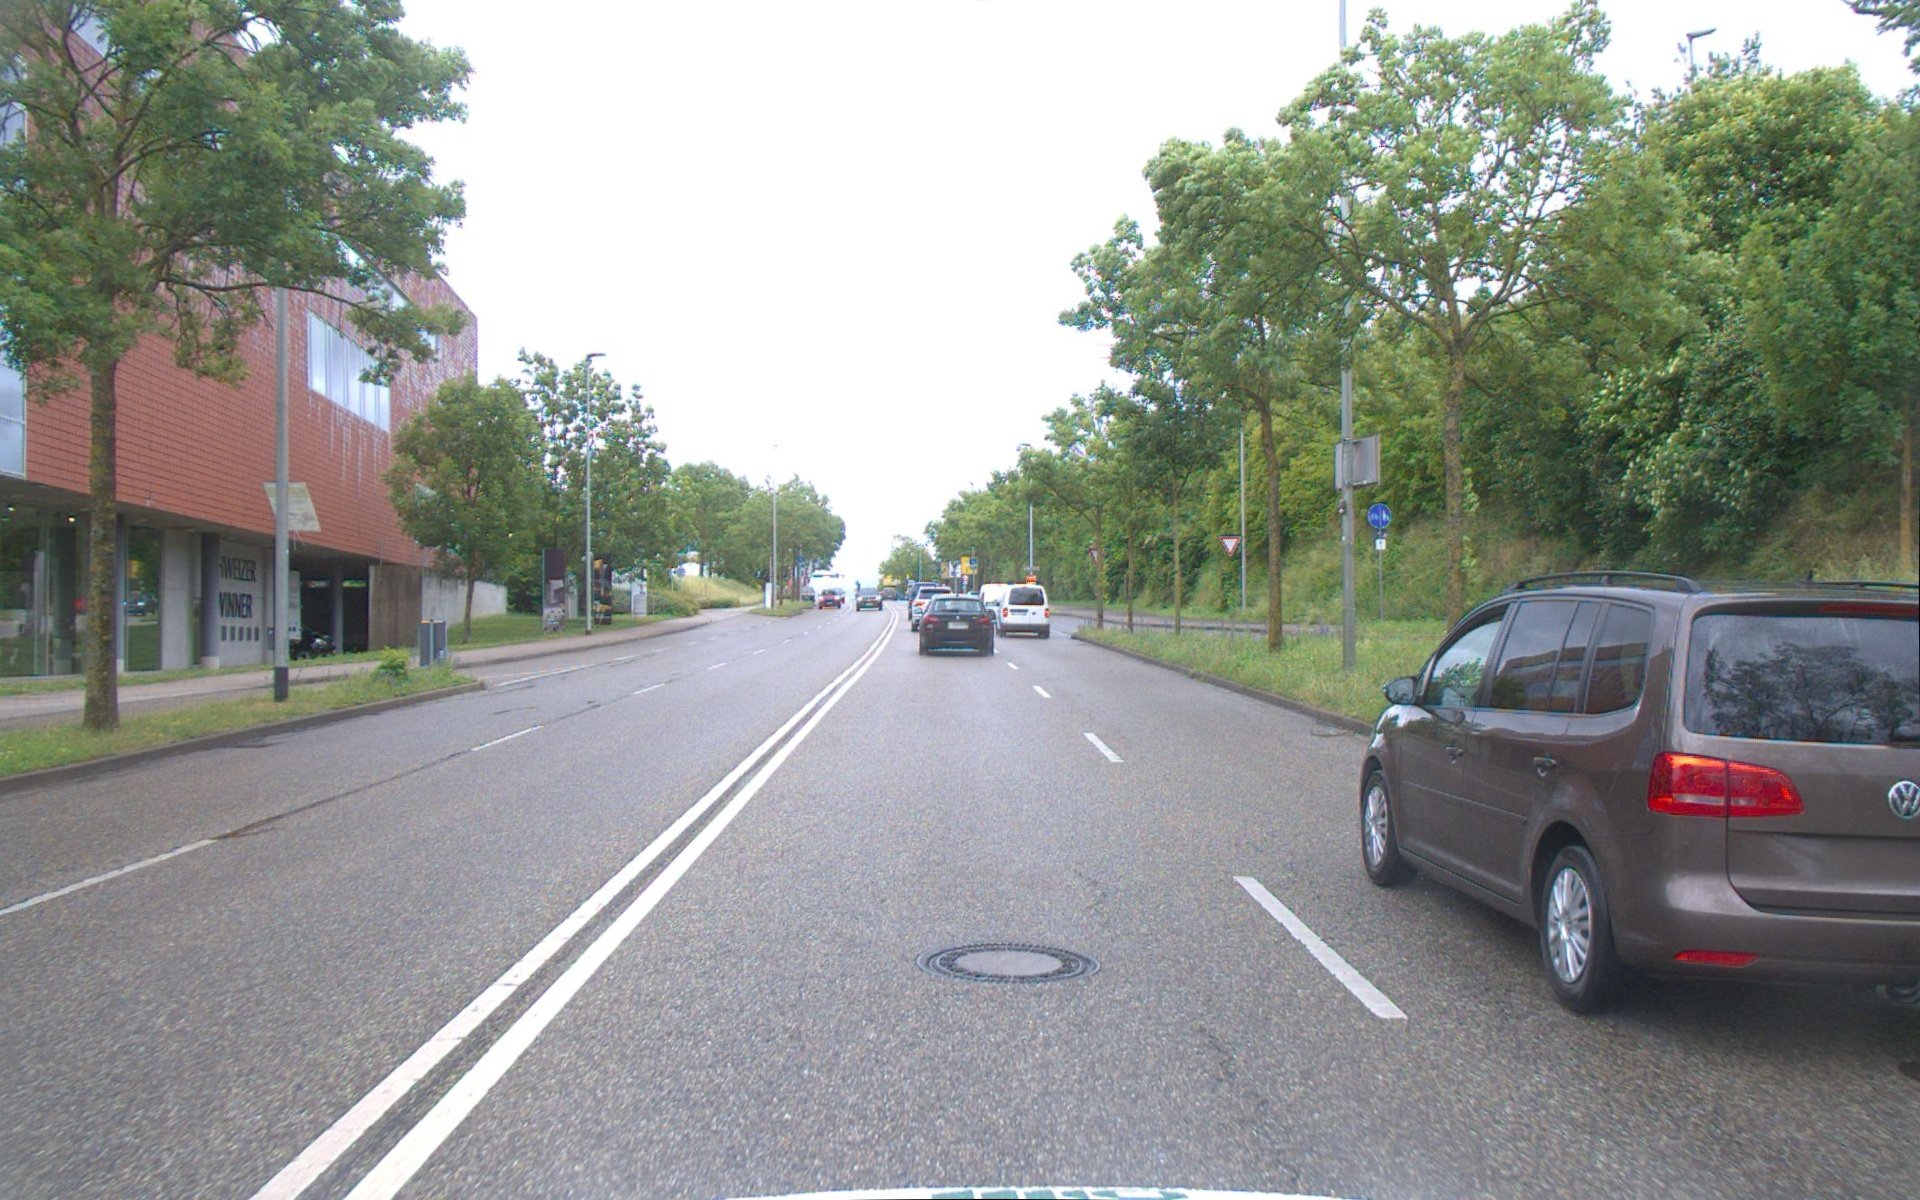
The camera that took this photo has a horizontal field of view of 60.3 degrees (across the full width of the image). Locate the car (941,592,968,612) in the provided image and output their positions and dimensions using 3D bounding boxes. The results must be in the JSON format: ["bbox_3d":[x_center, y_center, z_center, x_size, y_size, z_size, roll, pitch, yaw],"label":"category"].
[{"bbox_3d":[-0.439,0.167,129.901,1.759,1.537,3.996,1,-1,-4],"label":"car"}]

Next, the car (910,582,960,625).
[{"bbox_3d":[-0.984,0.141,63.285,1.758,1.537,3.998,1,-1,-2],"label":"car"}]

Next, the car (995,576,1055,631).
[{"bbox_3d":[2.254,0.107,57.869,1.790,1.790,3.999,1,0,-2],"label":"car"}]

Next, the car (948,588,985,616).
[{"bbox_3d":[0.352,0.119,93.465,1.759,1.537,3.996,1,-1,-4],"label":"car"}]

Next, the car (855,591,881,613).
[{"bbox_3d":[-6.552,0.147,117.866,1.759,1.537,3.996,1,-1,-4],"label":"car"}]

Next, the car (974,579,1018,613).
[{"bbox_3d":[1.702,-0.173,79.578,1.758,1.537,3.997,1,-1,-3],"label":"car"}]

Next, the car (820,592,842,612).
[{"bbox_3d":[-10.425,0.154,133.800,1.759,1.537,3.996,1,-1,-4],"label":"car"}]

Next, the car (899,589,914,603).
[{"bbox_3d":[-6.400,-0.486,198.105,1.758,1.537,3.998,1,-1,-3],"label":"car"}]

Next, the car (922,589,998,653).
[{"bbox_3d":[-0.007,0.486,40.896,1.790,1.494,4.000,0,0,-1],"label":"car"}]

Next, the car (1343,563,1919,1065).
[{"bbox_3d":[3.088,0.687,7.472,1.651,1.608,4.218,1,0,-1],"label":"car"}]

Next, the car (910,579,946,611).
[{"bbox_3d":[-1.645,-0.235,84.081,1.758,1.537,3.999,1,-1,-1],"label":"car"}]

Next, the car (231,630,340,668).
[{"bbox_3d":[-25.541,1.838,62.671,3.463,1.307,1.521,1,-1,1],"label":"car"}]

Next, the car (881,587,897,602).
[{"bbox_3d":[-8.106,-0.623,188.012,1.758,1.537,3.998,1,-1,-3],"label":"car"}]

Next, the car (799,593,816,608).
[{"bbox_3d":[-16.561,0.020,179.505,1.759,1.537,3.996,1,-1,-4],"label":"car"}]
